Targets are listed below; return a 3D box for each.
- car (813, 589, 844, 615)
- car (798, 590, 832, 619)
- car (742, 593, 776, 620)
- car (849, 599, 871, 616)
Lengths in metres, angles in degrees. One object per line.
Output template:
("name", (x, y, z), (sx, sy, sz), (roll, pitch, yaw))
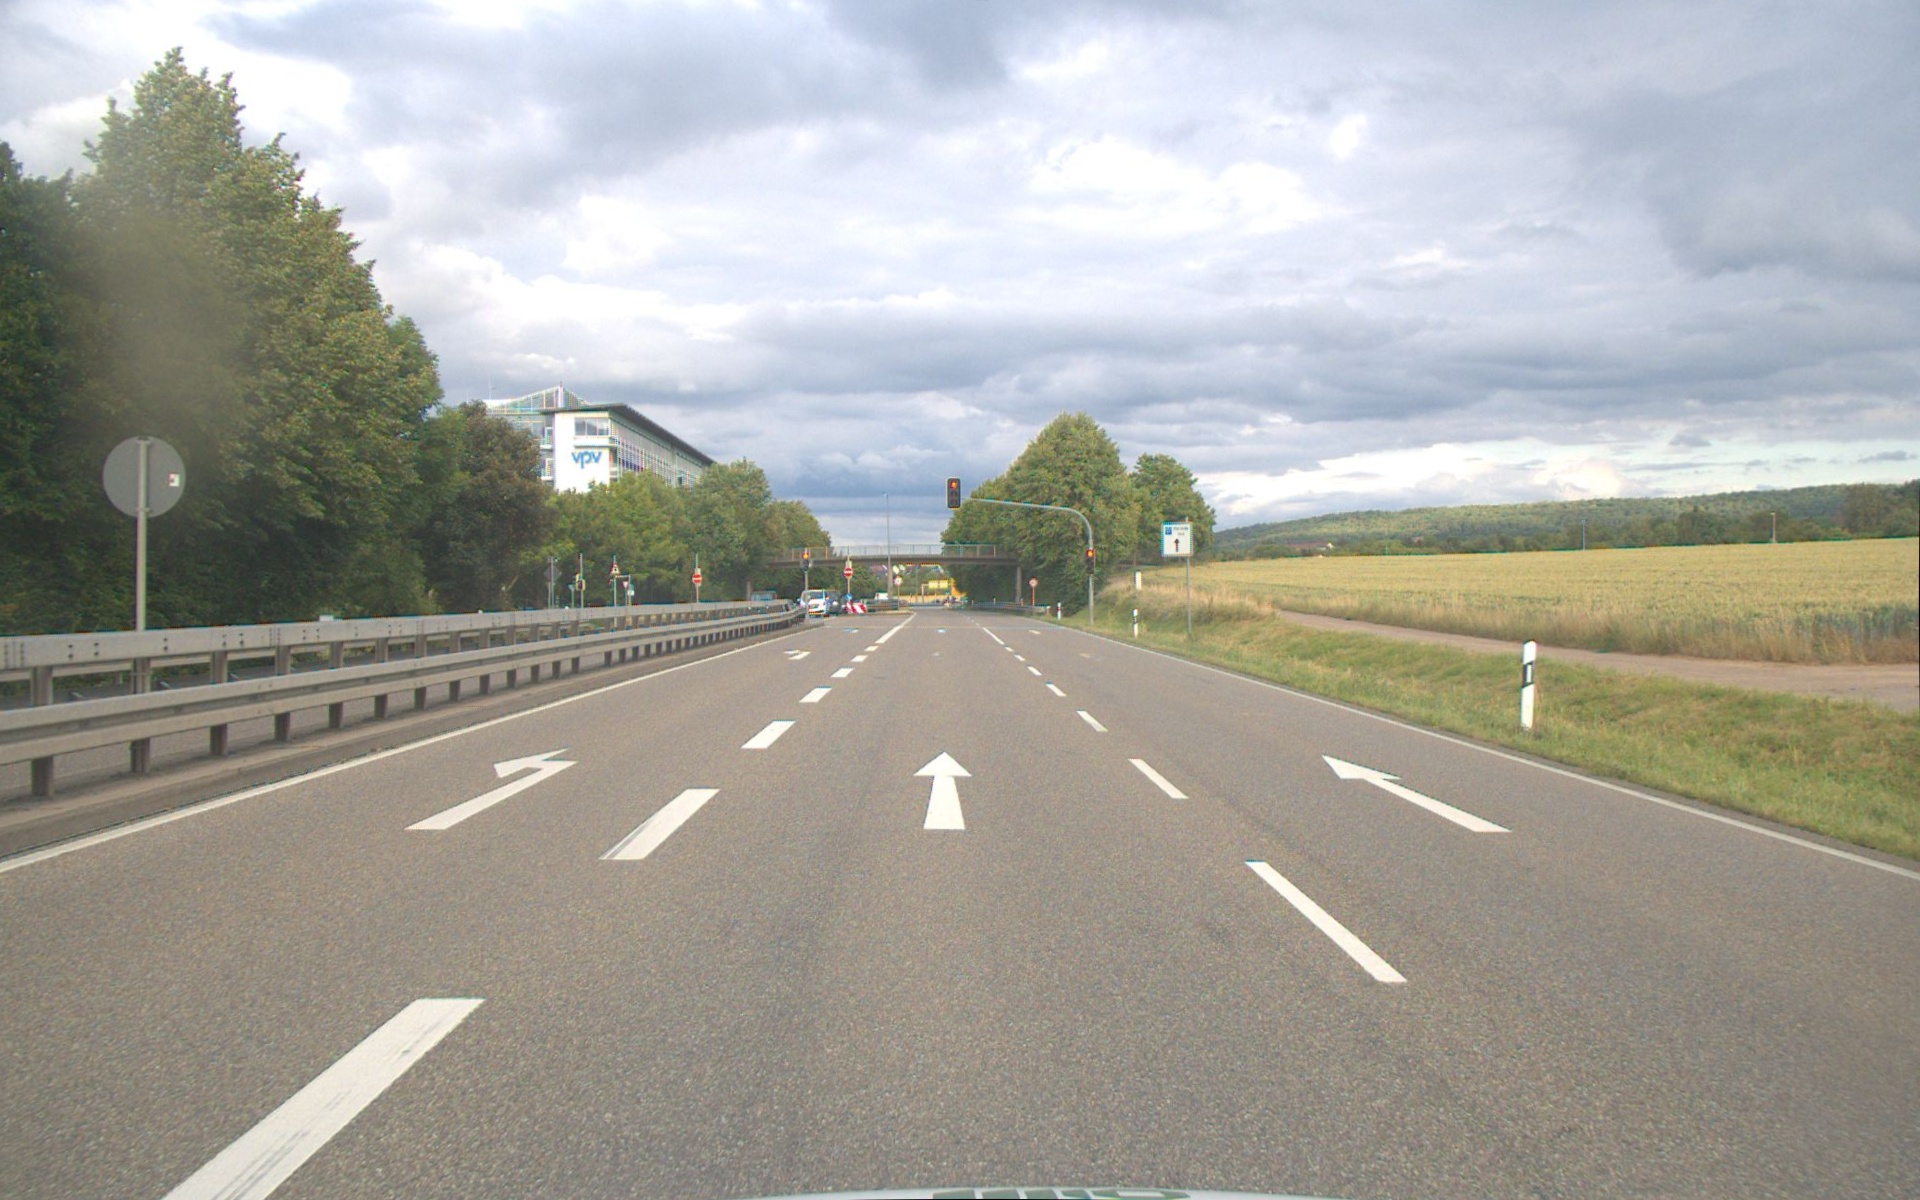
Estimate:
("car", (-9.840, 0.143, 124.141), (1.953, 1.906, 4.736), (-1, 1, -1))
("car", (-9.985, 0.268, 114.146), (1.908, 1.906, 4.736), (-1, 1, -1))
("car", (-13.814, 0.442, 113.907), (1.831, 1.784, 4.048), (-1, 1, -1))
("car", (-6.761, 0.505, 112.221), (1.330, 1.111, 2.922), (-1, 1, 0))
